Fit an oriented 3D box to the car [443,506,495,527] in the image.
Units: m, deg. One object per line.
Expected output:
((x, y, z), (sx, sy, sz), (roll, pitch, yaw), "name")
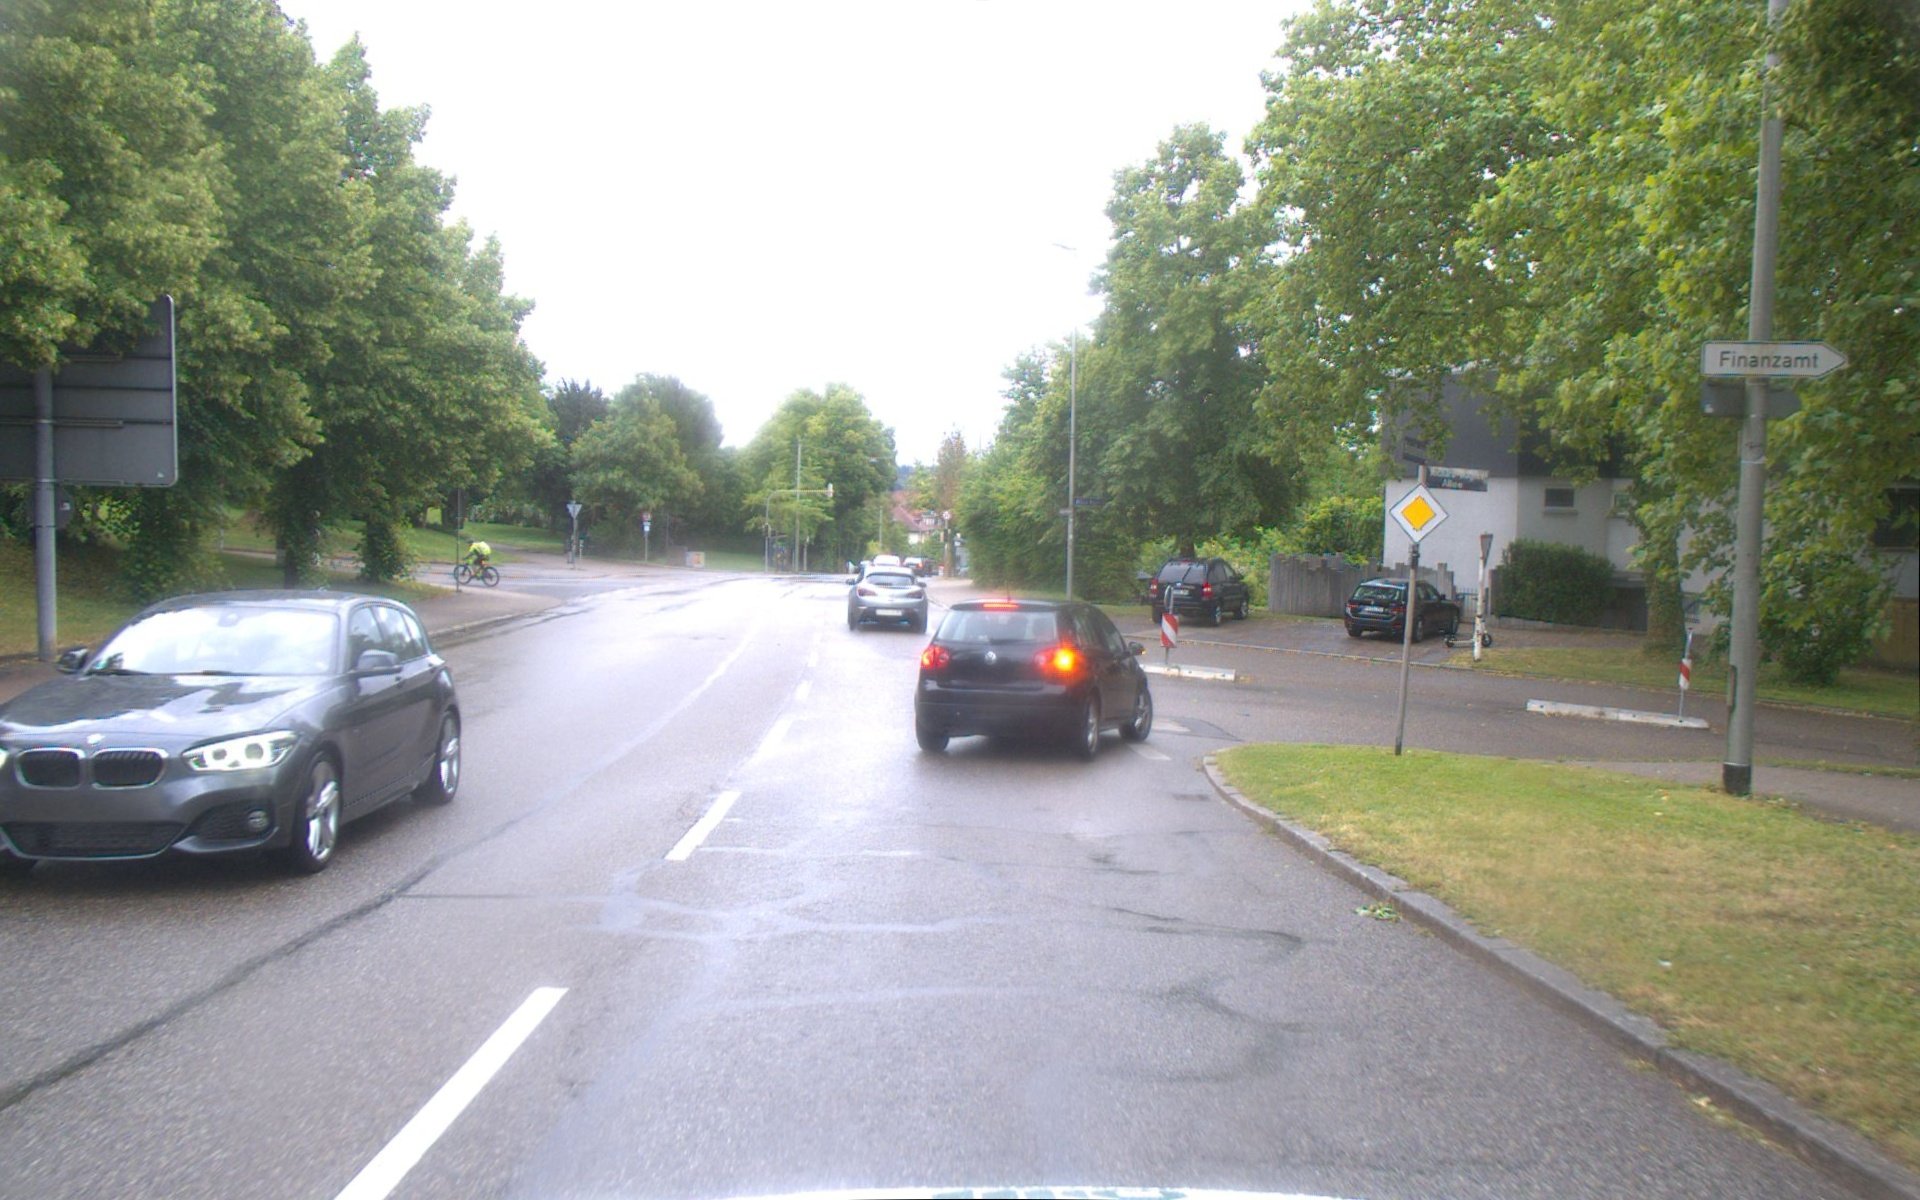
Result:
((-39.489, -6.673, 132.926), (3.842, 1.512, 1.923), (2, 1, -22), "car")

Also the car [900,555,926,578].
((-3.358, -2.421, 119.194), (1.687, 1.489, 4.000), (4, 1, -1), "car")

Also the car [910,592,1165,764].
((0.918, 0.711, 16.851), (1.685, 1.489, 4.002), (1, 0, 16), "car")

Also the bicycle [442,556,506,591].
((-16.896, -0.913, 57.501), (1.989, 1.175, 0.855), (1, 0, 19), "bicycle")

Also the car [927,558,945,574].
((-2.436, -3.434, 167.198), (1.687, 1.489, 4.000), (4, 1, -1), "car")

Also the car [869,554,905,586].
((-3.787, -1.561, 86.370), (1.687, 1.489, 4.000), (4, 1, -1), "car")

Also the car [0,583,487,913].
((-4.105, 0.668, 9.687), (1.687, 1.407, 4.137), (1, 2, -4), "car")

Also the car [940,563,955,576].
((-1.534, -3.819, 204.617), (1.687, 1.489, 4.000), (4, 1, -1), "car")

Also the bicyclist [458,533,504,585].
((-16.620, -1.415, 57.406), (1.255, 1.786, 0.855), (1, 0, 19), "bicyclist")

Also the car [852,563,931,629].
((-1.693, -0.128, 39.568), (1.720, 1.489, 3.997), (1, 1, -5), "car")

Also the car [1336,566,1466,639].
((11.237, 0.011, 41.945), (1.721, 1.494, 4.552), (5, 6, 34), "car")

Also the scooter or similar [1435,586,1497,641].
((12.180, 0.315, 39.816), (1.310, 1.308, 0.560), (0, 1, -9), "scooter or similar")

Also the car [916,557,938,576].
((-2.695, -2.797, 137.619), (1.687, 1.489, 4.000), (4, 1, -1), "car")

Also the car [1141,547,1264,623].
((6.619, -0.459, 44.726), (1.909, 1.718, 4.902), (4, 5, 25), "car")
